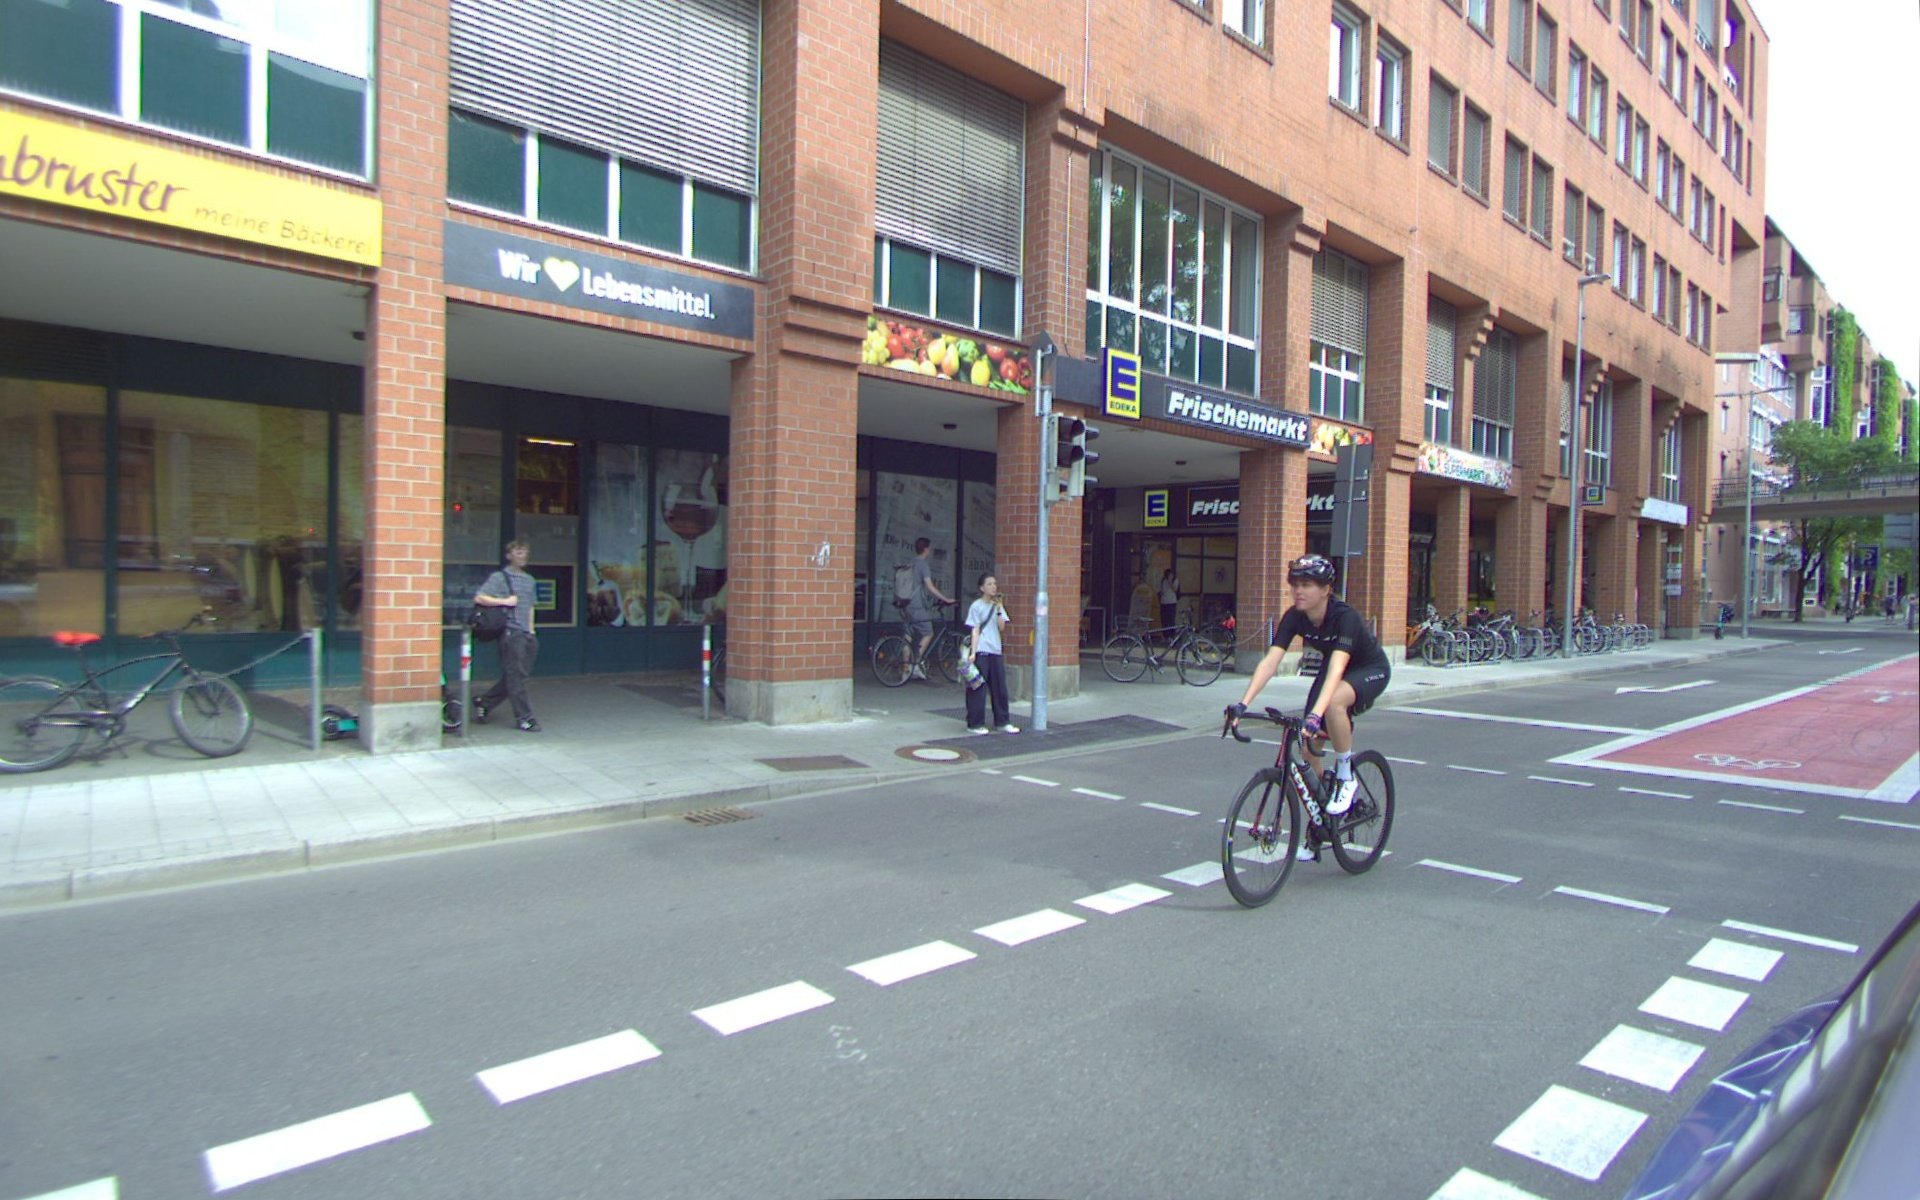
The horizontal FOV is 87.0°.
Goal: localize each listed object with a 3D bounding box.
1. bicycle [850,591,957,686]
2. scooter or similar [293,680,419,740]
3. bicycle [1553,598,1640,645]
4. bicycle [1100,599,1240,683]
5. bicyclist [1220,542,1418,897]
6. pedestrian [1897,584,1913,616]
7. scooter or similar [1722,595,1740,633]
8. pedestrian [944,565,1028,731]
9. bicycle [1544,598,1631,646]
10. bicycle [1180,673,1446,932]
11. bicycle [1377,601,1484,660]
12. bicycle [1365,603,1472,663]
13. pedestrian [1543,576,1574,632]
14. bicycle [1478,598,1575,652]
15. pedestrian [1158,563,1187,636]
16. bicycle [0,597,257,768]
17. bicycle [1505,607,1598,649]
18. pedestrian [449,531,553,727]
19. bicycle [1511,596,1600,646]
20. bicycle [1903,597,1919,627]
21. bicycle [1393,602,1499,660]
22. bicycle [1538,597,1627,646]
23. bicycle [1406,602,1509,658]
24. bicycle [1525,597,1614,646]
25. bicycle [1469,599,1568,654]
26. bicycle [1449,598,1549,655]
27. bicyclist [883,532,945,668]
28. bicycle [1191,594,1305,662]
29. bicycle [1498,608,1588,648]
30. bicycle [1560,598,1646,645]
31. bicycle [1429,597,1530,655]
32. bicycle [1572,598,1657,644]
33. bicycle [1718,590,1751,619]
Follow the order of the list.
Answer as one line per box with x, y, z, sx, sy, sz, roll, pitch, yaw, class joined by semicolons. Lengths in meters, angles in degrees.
-0.739;0.485;13.816;0.624;1.096;1.734;6;5;27;bicycle
-5.082;0.917;8.537;0.876;0.424;0.263;1;1;-43;scooter or similar
16.972;0.556;27.030;0.525;1.155;1.859;1;2;-40;bicycle
2.998;0.578;14.551;1.829;1.097;0.630;2;2;-1;bicycle
1.829;0.545;5.146;0.832;1.624;0.612;0;-1;-42;bicyclist
50.378;-0.017;53.953;0.601;1.675;0.515;1;1;-40;pedestrian
26.272;0.468;34.476;0.905;1.273;0.272;0;1;-41;scooter or similar
0.269;0.481;10.523;0.718;1.651;0.408;1;2;-33;pedestrian
16.444;0.563;26.567;0.525;1.155;1.859;1;2;-40;bicycle
1.849;0.934;5.161;1.717;1.013;0.488;0;-1;-41;bicycle
9.299;0.581;20.068;0.525;1.053;1.859;1;2;-40;bicycle
8.863;0.614;19.632;0.498;1.053;1.858;1;1;-40;bicycle
19.609;0.128;33.159;0.767;1.799;0.614;1;1;-40;pedestrian
13.005;0.549;23.284;0.525;1.125;1.859;1;2;-40;bicycle
4.870;-0.011;23.213;0.522;1.660;0.385;1;1;-41;pedestrian
-6.078;0.548;7.268;1.667;1.105;0.567;0;3;-37;bicycle
14.365;0.671;24.620;0.525;0.904;1.859;1;2;-40;bicycle
-4.237;0.239;9.340;0.686;1.717;0.646;0;3;-43;pedestrian
15.076;0.506;25.653;0.525;1.155;1.859;1;2;-40;bicycle
47.713;0.623;49.225;0.755;1.456;2.584;1;1;-38;bicycle
9.825;0.601;20.523;0.525;1.053;1.859;1;2;-40;bicycle
16.090;0.539;26.195;0.525;1.155;1.859;1;2;-40;bicycle
10.297;0.597;21.004;0.525;1.053;1.859;1;2;-40;bicycle
15.580;0.531;25.927;0.525;1.155;1.859;1;2;-40;bicycle
12.552;0.570;22.792;0.525;1.125;1.859;1;2;-40;bicycle
11.866;0.558;22.316;0.525;1.125;1.859;1;2;-40;bicycle
-0.624;-0.019;13.917;0.751;1.800;0.622;3;3;-1;bicyclist
5.080;0.488;17.922;1.829;1.097;0.485;2;2;-1;bicycle
14.618;0.683;25.415;0.525;0.881;1.859;1;2;-40;bicycle
17.362;0.557;27.367;0.525;1.155;1.859;1;2;-40;bicycle
11.224;0.536;21.929;0.525;1.125;1.859;1;2;-40;bicycle
17.938;0.548;27.764;0.525;1.155;1.859;1;2;-40;bicycle
38.856;0.231;50.752;2.928;1.407;0.746;0;1;-41;bicycle
